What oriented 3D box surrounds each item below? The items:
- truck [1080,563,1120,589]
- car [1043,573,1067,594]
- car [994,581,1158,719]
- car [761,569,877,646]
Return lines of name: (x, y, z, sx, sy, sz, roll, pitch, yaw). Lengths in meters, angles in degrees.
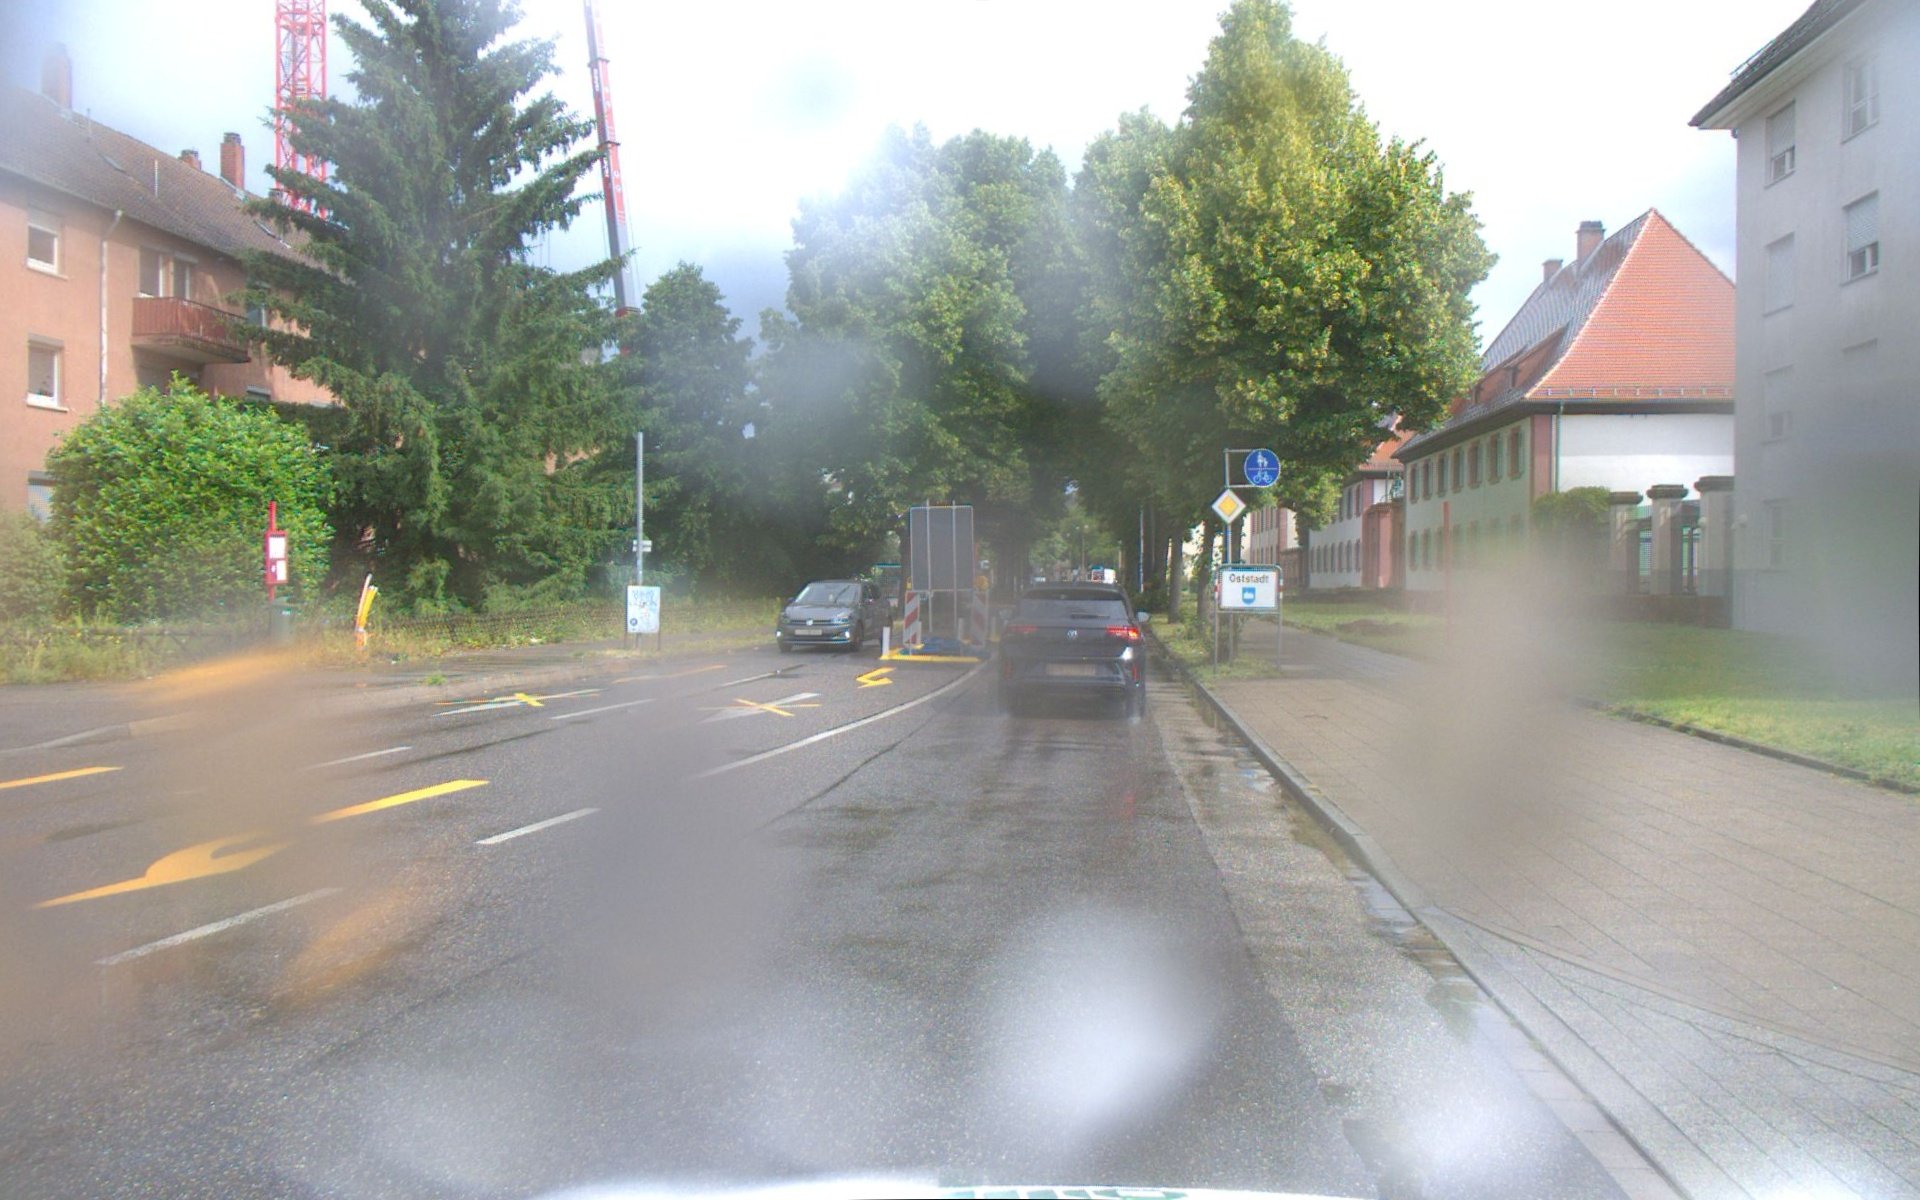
truck: (14.961, -2.572, 177.527, 2.751, 2.703, 8.231, 0, 1, -6)
car: (8.057, -1.419, 140.088, 1.846, 1.743, 4.232, -1, 1, 5)
car: (1.469, 0.553, 20.909, 1.855, 1.549, 4.002, 1, 1, 4)
car: (-2.923, 0.124, 35.024, 1.644, 1.534, 3.796, 0, 1, 8)
